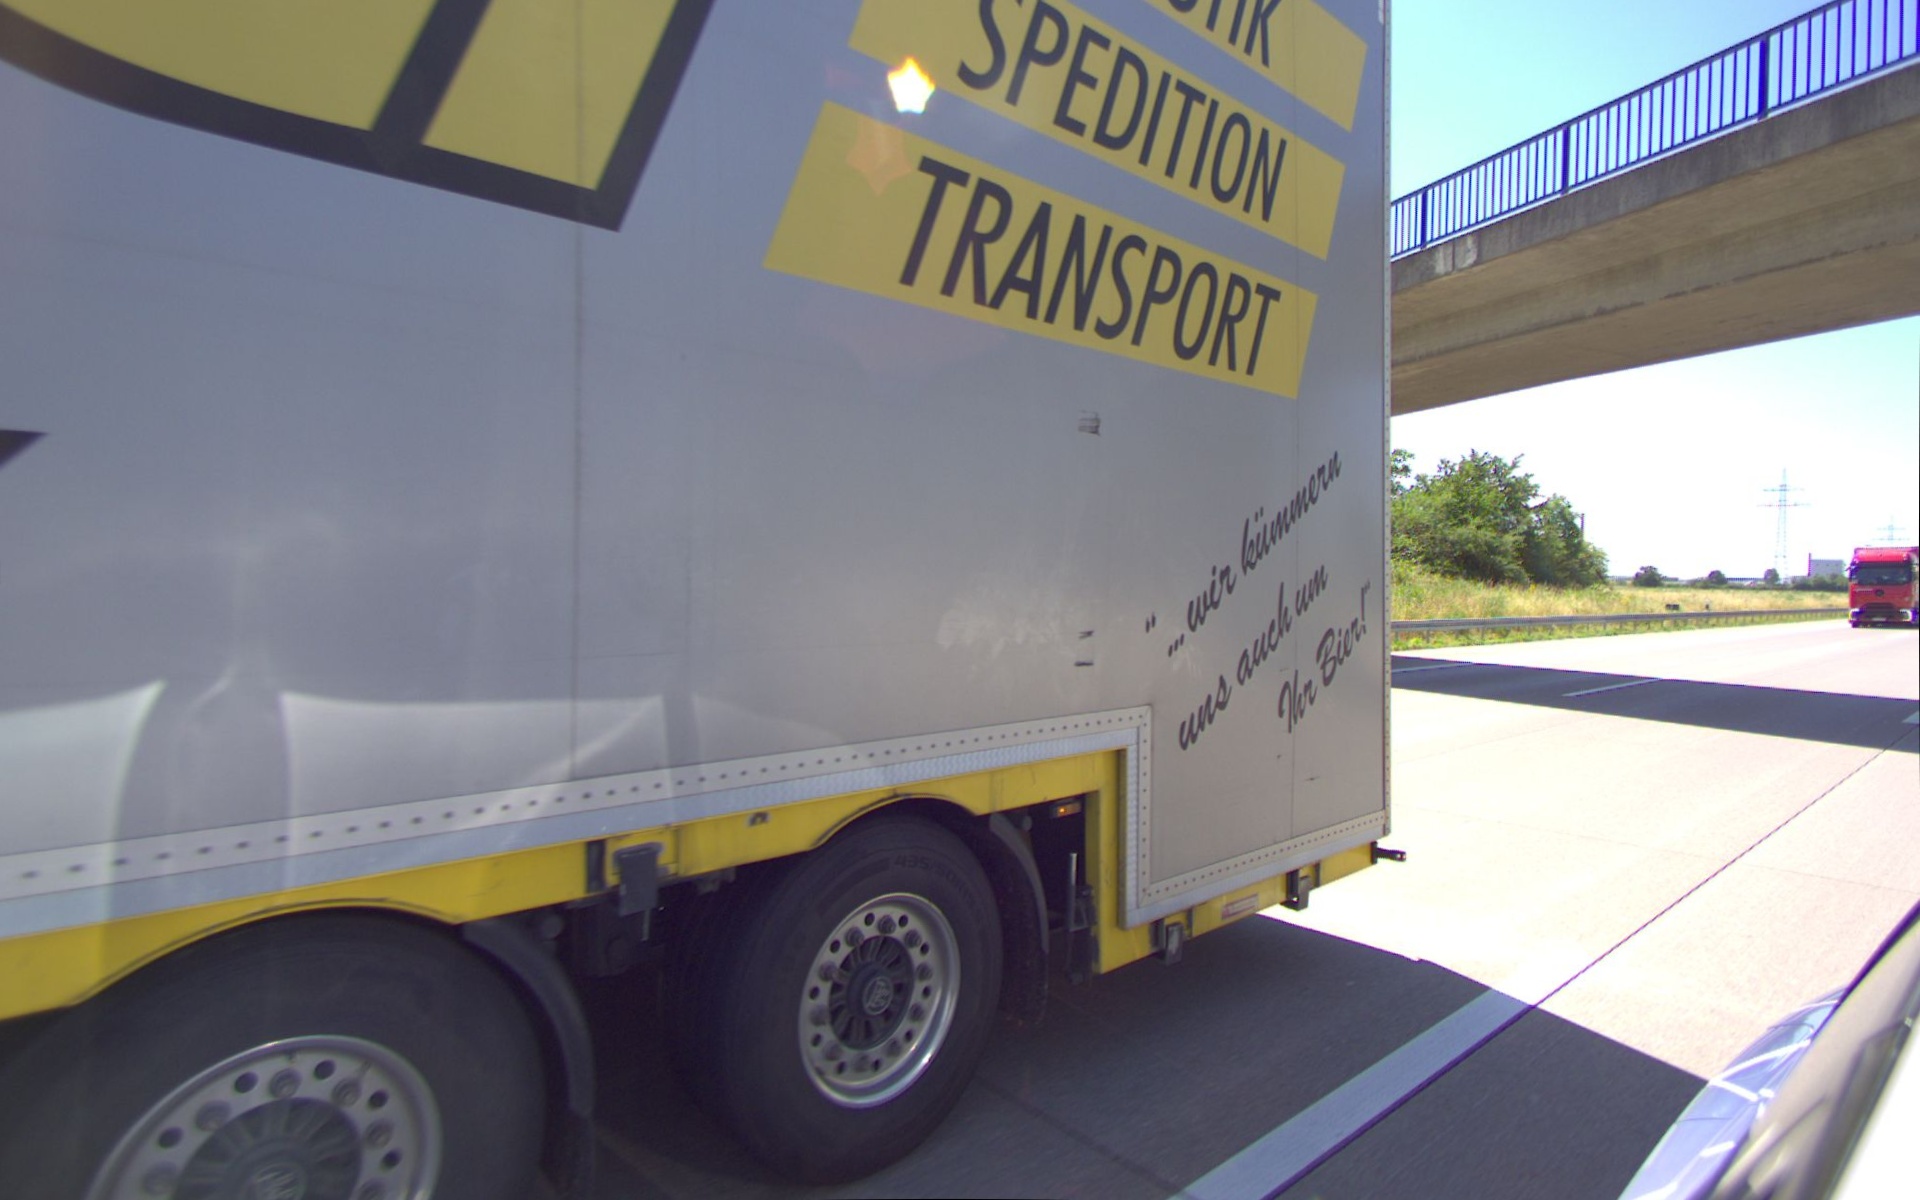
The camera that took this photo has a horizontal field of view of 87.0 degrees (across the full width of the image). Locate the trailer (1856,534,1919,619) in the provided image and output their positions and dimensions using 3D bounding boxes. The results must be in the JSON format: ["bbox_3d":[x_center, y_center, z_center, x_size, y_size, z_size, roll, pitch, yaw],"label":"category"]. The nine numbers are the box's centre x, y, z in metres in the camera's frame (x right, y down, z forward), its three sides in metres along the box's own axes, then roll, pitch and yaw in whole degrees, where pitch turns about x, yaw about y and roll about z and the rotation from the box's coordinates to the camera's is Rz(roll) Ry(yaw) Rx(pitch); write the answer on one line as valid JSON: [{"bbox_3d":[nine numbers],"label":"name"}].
[{"bbox_3d":[51.814,-1.221,55.025,13.570,4.199,2.957,-1,0,-41],"label":"trailer"}]

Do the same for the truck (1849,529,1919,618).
[{"bbox_3d":[47.094,-1.277,50.834,6.047,4.199,2.956,0,0,-42],"label":"truck"}]

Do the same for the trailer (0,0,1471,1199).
[{"bbox_3d":[-3.955,-0.754,0.229,14.938,4.308,1.996,-1,0,-42],"label":"trailer"}]
